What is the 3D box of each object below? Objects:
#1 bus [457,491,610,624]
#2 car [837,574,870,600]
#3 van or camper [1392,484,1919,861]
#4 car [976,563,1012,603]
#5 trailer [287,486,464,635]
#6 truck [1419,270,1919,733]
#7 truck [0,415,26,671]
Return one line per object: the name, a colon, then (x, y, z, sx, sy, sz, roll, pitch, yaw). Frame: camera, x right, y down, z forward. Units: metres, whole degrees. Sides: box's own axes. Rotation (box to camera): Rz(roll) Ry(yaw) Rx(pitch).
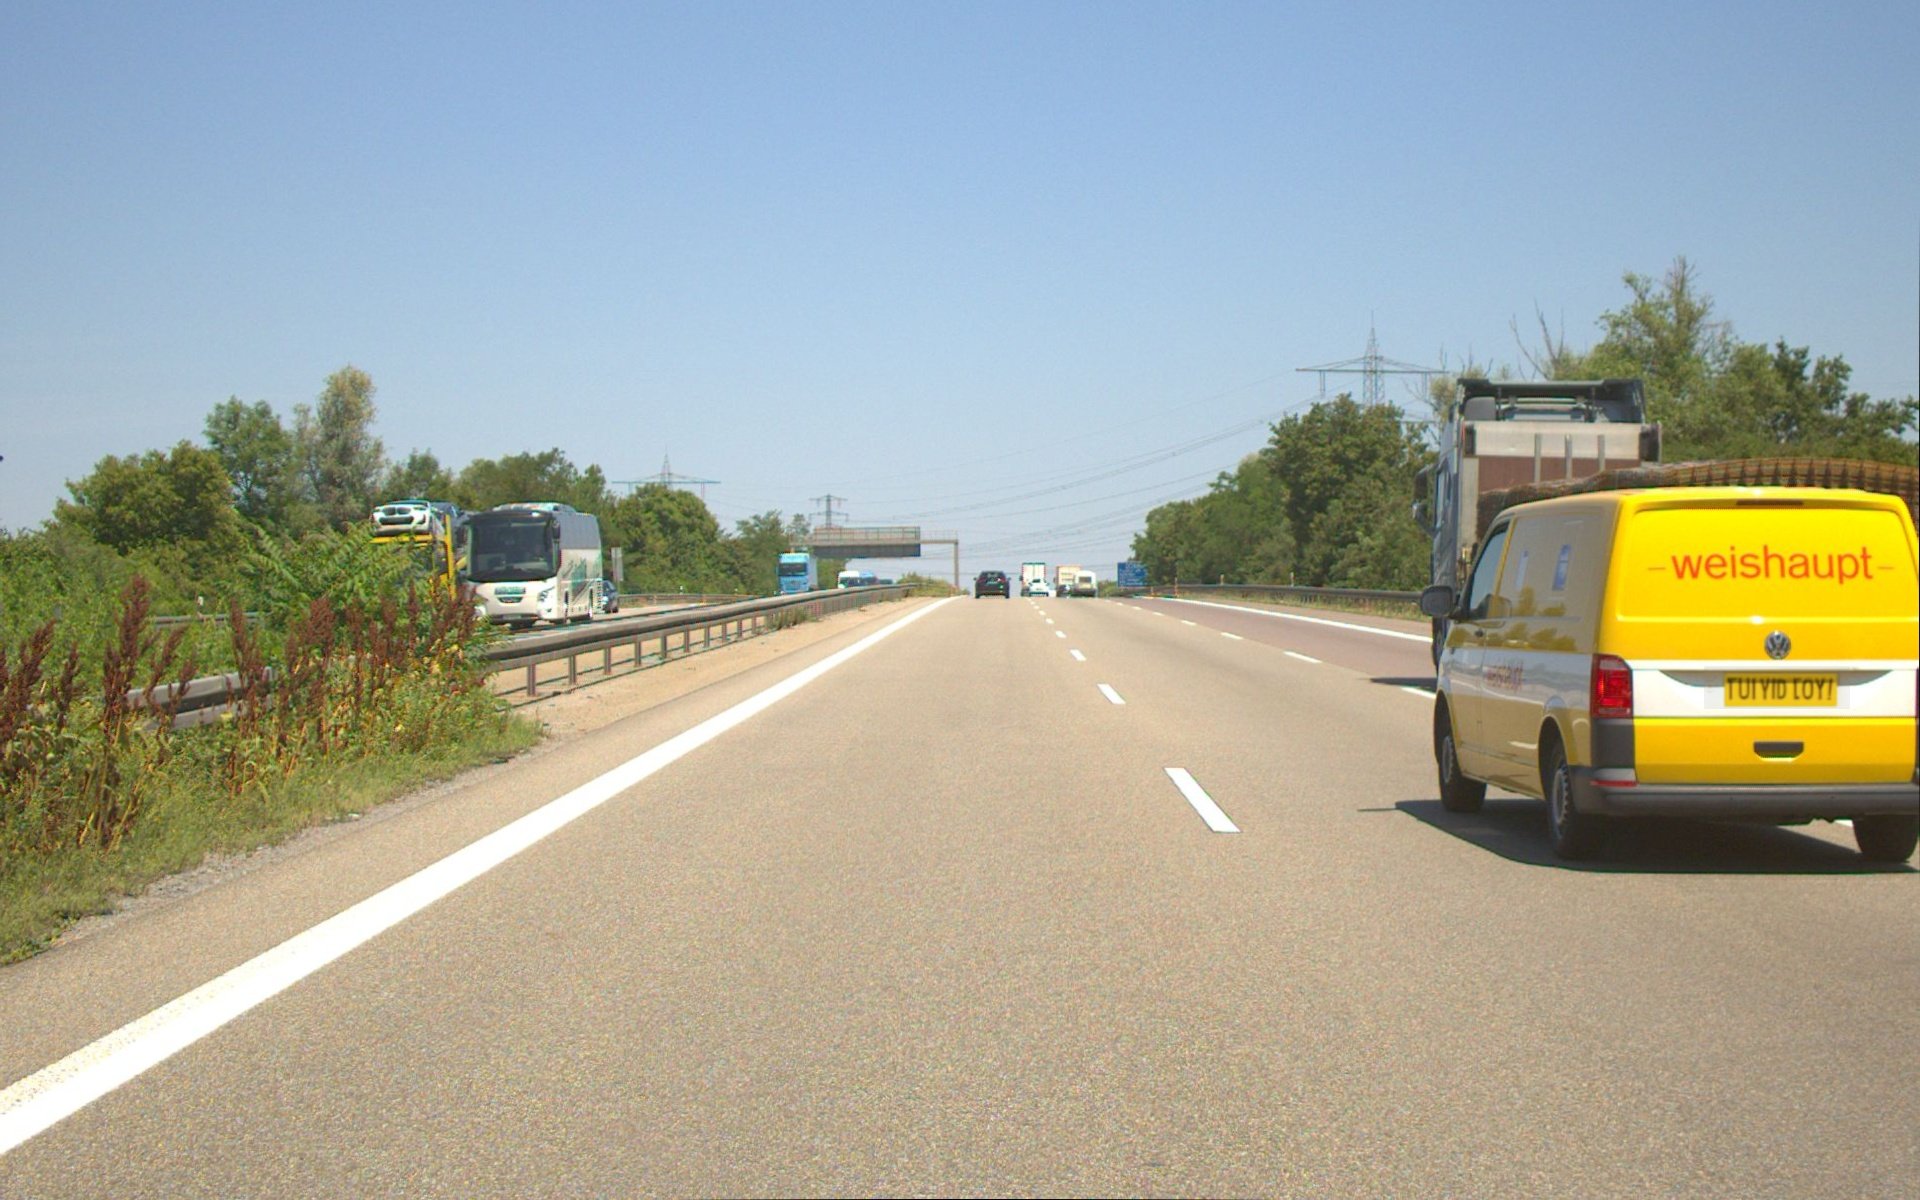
bus: (-12.540, -1.275, 102.248, 2.694, 3.571, 12.793, -3, 1, 1)
car: (-7.613, -0.937, 245.464, 1.994, 1.599, 4.599, -7, 0, 1)
van or camper: (3.910, 0.342, 20.031, 1.993, 1.903, 4.972, 1, 1, -2)
car: (1.760, -0.849, 177.369, 1.791, 2.007, 3.887, 1, 0, 1)
trailer: (-16.824, -1.148, 99.812, 2.921, 3.954, 11.651, -2, 1, 0)
truck: (7.501, -0.853, 37.799, 2.969, 3.944, 16.612, 1, 0, 1)
truck: (-17.718, -0.852, 50.571, 2.955, 4.327, 17.470, -2, 0, 0)
